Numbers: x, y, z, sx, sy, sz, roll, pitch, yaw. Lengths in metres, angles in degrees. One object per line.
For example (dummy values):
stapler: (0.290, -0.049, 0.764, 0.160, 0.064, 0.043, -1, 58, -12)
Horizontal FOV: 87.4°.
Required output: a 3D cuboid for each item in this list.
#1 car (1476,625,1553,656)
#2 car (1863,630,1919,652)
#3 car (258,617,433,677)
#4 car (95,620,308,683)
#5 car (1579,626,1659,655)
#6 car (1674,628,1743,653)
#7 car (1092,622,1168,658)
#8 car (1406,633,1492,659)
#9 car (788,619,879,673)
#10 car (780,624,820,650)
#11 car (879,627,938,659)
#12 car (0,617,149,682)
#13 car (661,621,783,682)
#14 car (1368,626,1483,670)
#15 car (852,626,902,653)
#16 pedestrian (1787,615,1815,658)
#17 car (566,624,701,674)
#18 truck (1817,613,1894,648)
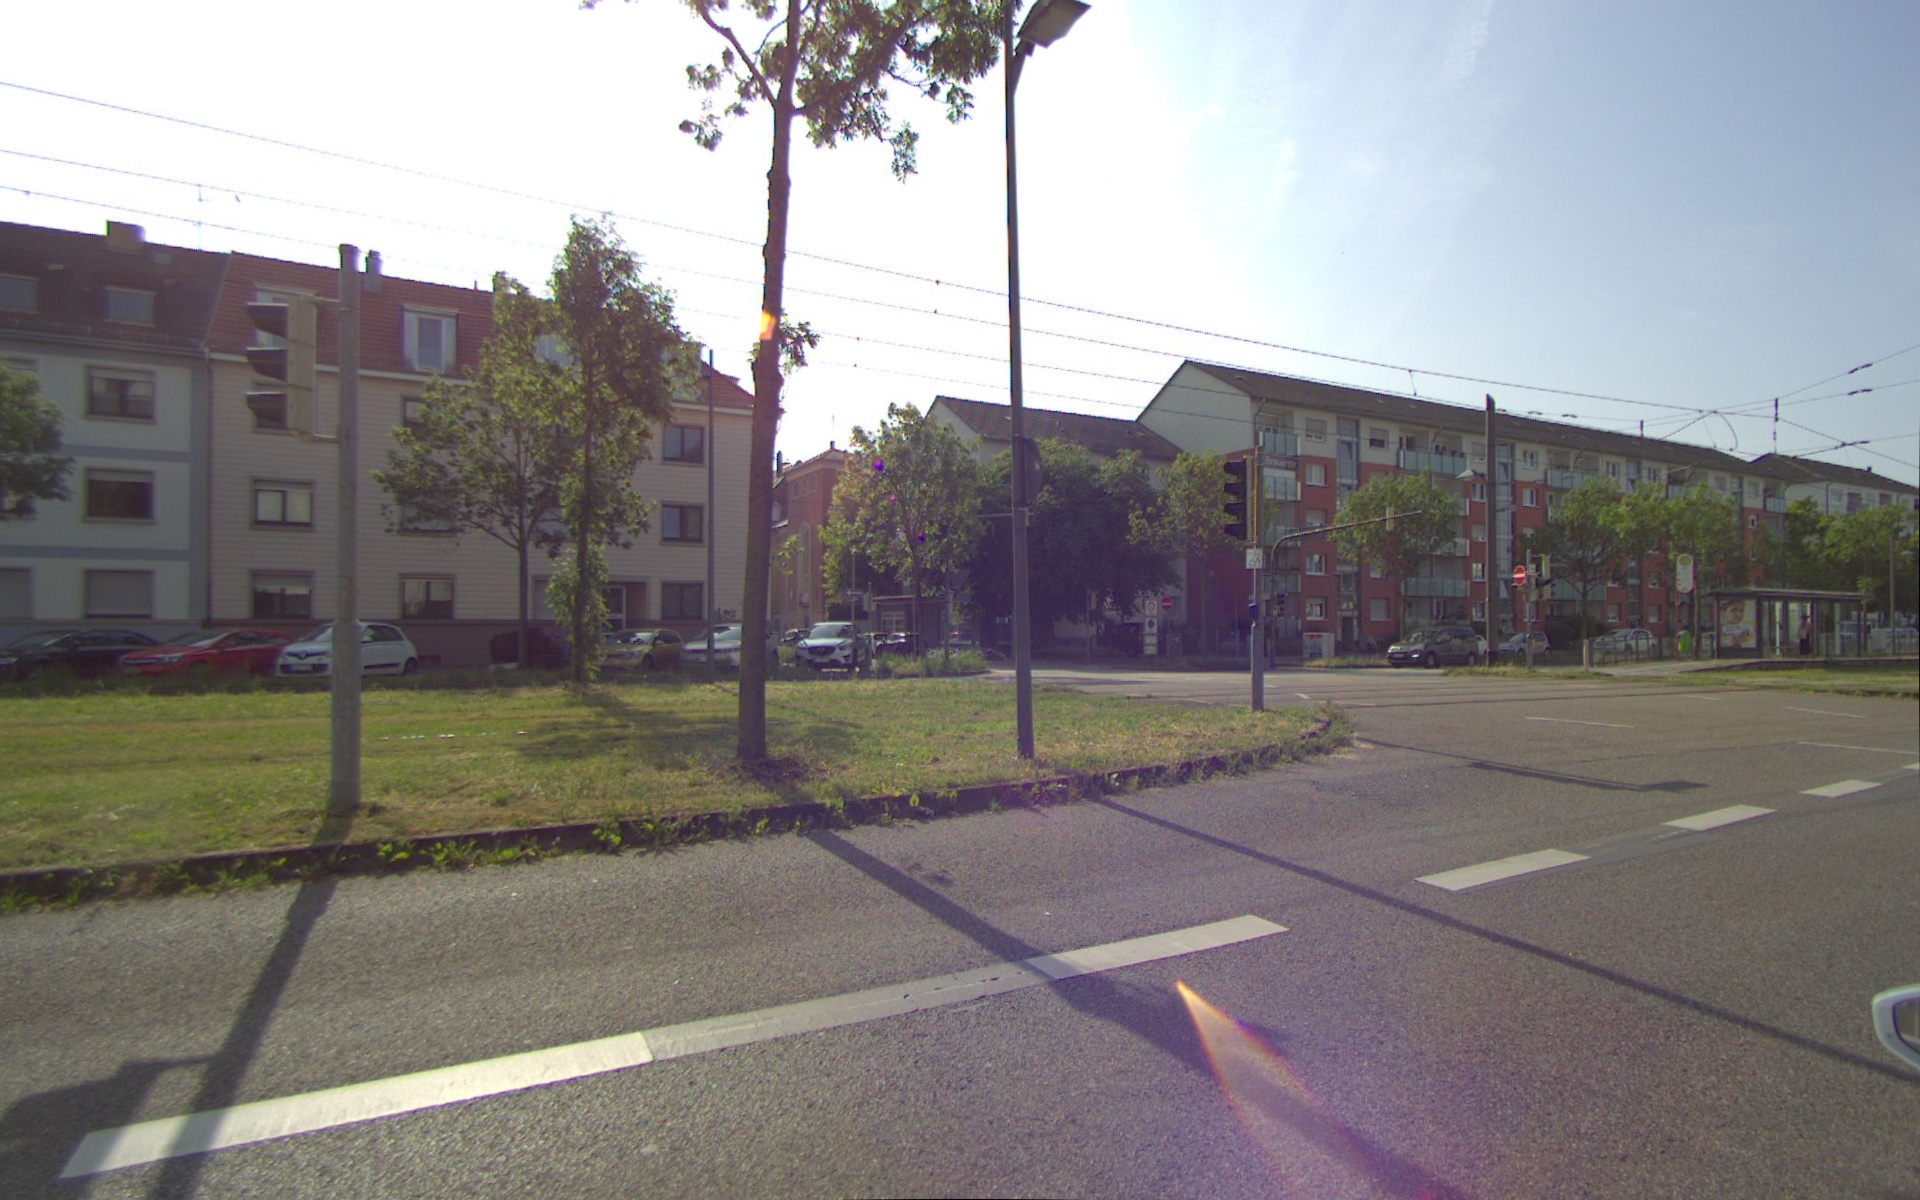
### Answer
car: (29.056, 2.098, 52.630, 3.781, 1.490, 1.825, 1, 0, -29)
car: (68.777, 3.003, 74.112, 4.229, 1.533, 1.972, 1, 0, -29)
car: (-15.344, 1.123, 25.366, 1.849, 1.286, 4.001, 1, 0, 2)
car: (-17.949, 1.159, 24.034, 1.838, 1.275, 4.002, 1, 0, 5)
car: (37.698, 2.295, 57.431, 4.482, 1.577, 1.972, 1, 0, -30)
car: (46.150, 2.488, 61.900, 4.020, 1.378, 1.972, 1, 0, -29)
car: (8.887, 2.058, 52.852, 1.974, 1.717, 3.972, 1, 0, -27)
car: (24.130, 2.238, 49.564, 4.115, 1.163, 1.825, 1, 0, -30)
car: (-3.889, 1.388, 31.659, 1.924, 1.483, 4.355, 1, 0, 5)
car: (-11.712, 2.682, 73.414, 1.906, 1.663, 3.975, 1, 0, -25)
car: (-2.983, 2.402, 57.241, 1.972, 1.627, 3.974, 1, 0, -26)
car: (-20.669, 1.060, 22.405, 1.665, 1.251, 4.002, 1, 0, 5)
car: (-6.910, 1.447, 29.681, 1.959, 1.534, 4.467, 1, 0, 8)
car: (19.607, 1.995, 42.278, 4.653, 1.728, 1.986, 1, -1, -28)
car: (-5.102, 2.382, 61.321, 1.797, 1.495, 3.974, 1, 0, -26)
pedestrian: (33.757, 1.461, 40.310, 0.786, 1.675, 0.668, 1, -2, -33)
car: (-9.347, 1.367, 29.120, 1.959, 1.194, 4.002, 1, 0, 13)
truck: (70.527, 2.380, 79.104, 7.154, 2.597, 2.355, 1, 0, -30)
